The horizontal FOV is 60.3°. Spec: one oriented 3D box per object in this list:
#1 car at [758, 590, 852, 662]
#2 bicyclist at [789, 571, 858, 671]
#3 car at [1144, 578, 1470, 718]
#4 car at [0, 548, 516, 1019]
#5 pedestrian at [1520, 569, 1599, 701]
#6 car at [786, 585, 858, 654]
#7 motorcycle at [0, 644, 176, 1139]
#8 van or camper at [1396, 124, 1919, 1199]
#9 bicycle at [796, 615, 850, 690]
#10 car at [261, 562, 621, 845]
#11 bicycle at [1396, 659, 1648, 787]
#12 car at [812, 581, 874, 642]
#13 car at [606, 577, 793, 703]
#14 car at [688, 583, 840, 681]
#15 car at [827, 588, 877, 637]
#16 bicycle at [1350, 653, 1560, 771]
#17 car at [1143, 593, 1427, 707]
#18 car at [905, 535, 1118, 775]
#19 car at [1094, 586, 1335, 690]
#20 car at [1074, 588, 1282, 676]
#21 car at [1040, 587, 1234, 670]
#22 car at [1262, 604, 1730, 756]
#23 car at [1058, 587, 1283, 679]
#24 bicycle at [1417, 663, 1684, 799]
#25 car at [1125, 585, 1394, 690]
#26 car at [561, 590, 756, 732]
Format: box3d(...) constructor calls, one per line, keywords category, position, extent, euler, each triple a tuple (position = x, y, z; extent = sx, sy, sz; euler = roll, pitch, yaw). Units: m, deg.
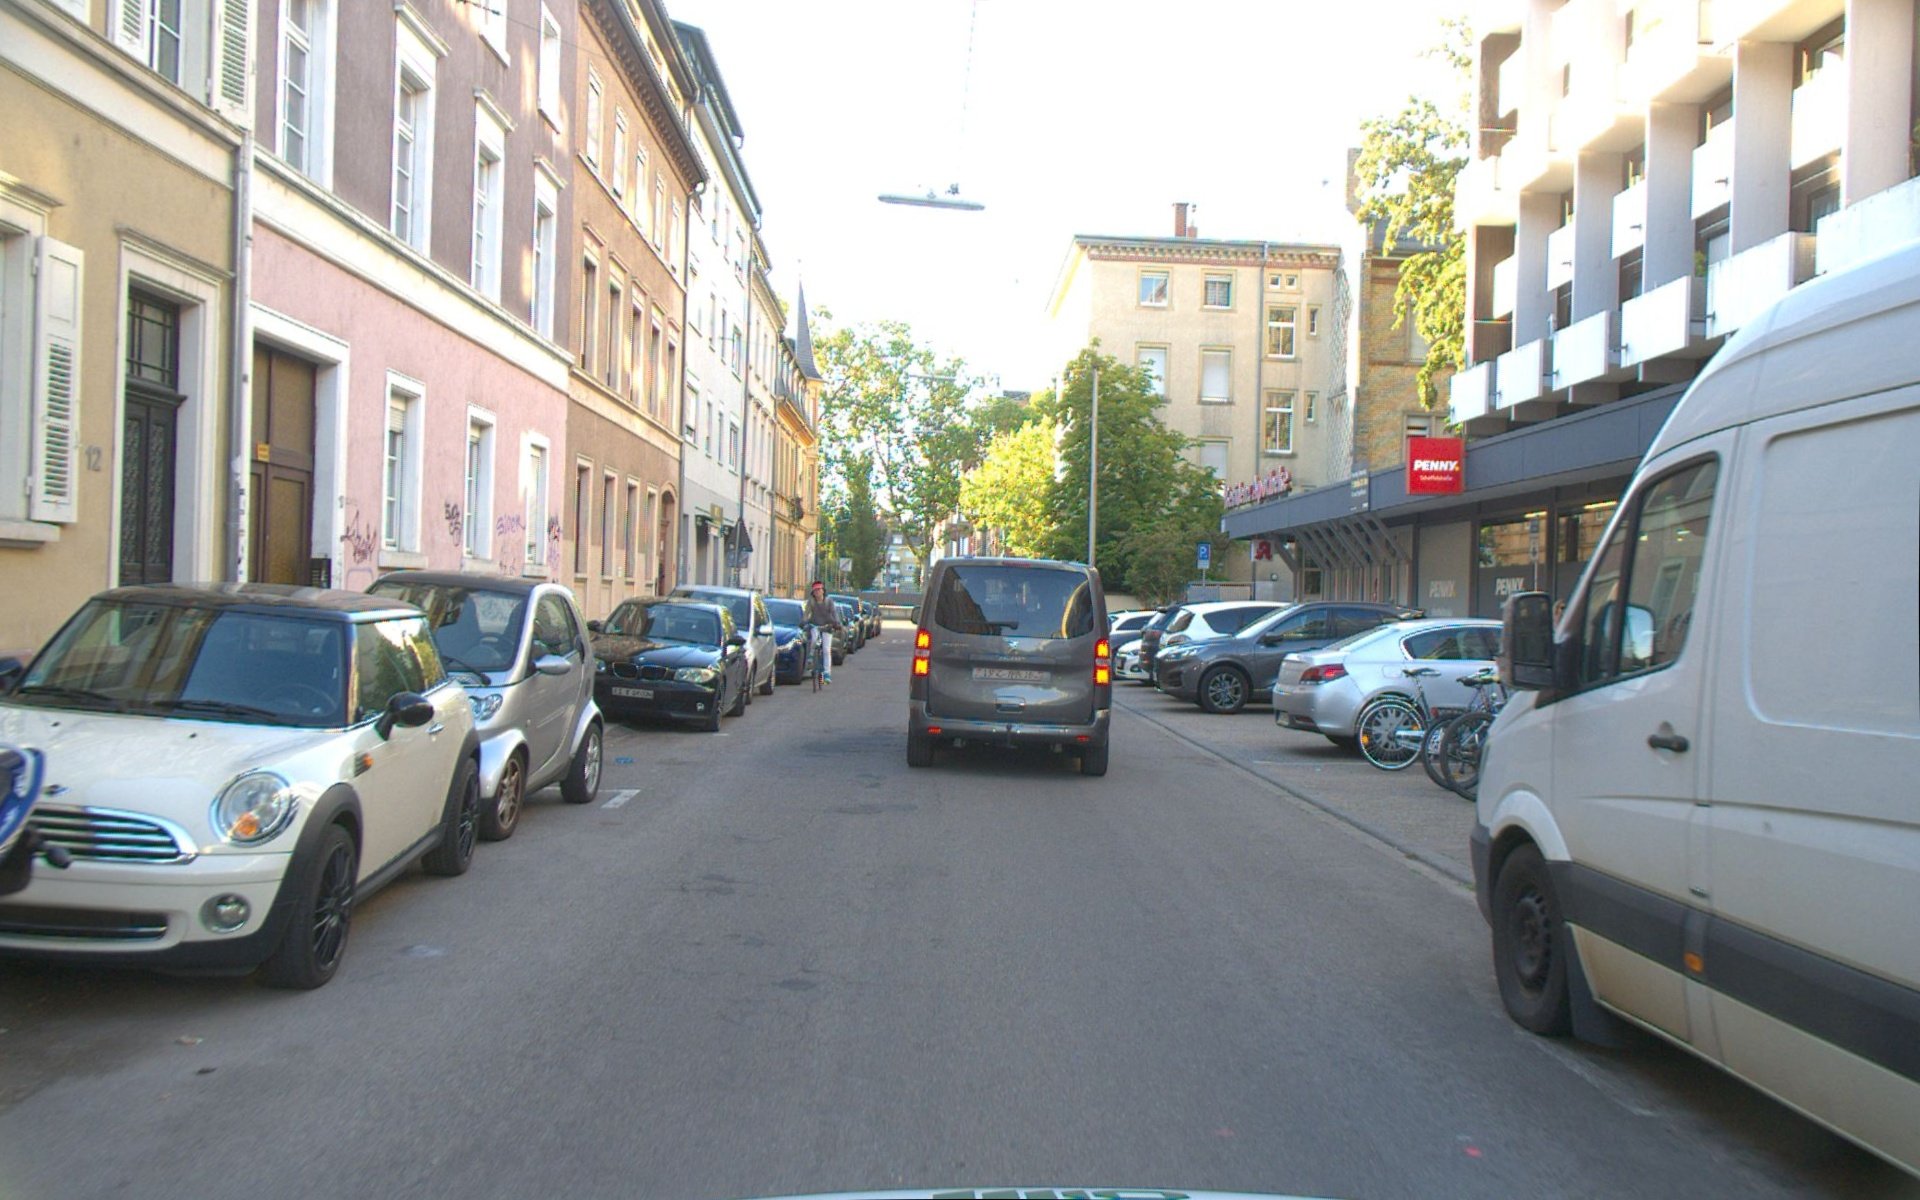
box3d(category="car", position=(-3.712, 0.583, 40.170), extent=(2.102, 1.588, 4.581), euler=(2, 0, -4))
box3d(category="bicyclist", position=(-2.250, 0.337, 27.297), extent=(1.013, 1.605, 0.833), euler=(1, 0, 3))
box3d(category="car", position=(5.217, 0.700, 25.296), extent=(4.478, 1.891, 1.999), euler=(2, 0, -3))
box3d(category="car", position=(-3.189, 0.581, 7.324), extent=(1.678, 1.523, 3.851), euler=(2, 0, -5))
box3d(category="pedestrian", position=(9.309, 0.530, 25.717), extent=(1.063, 1.979, 0.872), euler=(1, 0, 16))
box3d(category="car", position=(-4.034, 0.534, 48.753), extent=(1.954, 1.891, 4.581), euler=(2, 0, -4))
box3d(category="motorcycle", position=(-2.849, 0.783, 4.116), extent=(0.696, 1.256, 2.474), euler=(2, 0, -3))
box3d(category="van or camper", position=(3.259, 0.219, 4.061), extent=(2.057, 2.647, 7.508), euler=(1, 0, -3))
box3d(category="bicycle", position=(-2.250, 0.841, 27.368), extent=(0.608, 1.158, 2.258), euler=(1, 0, 2))
box3d(category="car", position=(-3.235, 0.583, 10.783), extent=(1.357, 1.558, 2.749), euler=(2, 0, 2))
box3d(category="bicycle", position=(4.966, 1.077, 14.663), extent=(2.002, 1.067, 0.723), euler=(1, 0, -7))
box3d(category="car", position=(-3.956, 0.350, 55.935), extent=(1.954, 1.891, 4.581), euler=(2, 0, -4))
box3d(category="car", position=(-3.748, 0.533, 24.658), extent=(1.952, 1.633, 4.585), euler=(2, 0, 1))
box3d(category="car", position=(-3.524, 0.538, 30.565), extent=(1.952, 1.588, 4.587), euler=(2, 0, 3))
box3d(category="car", position=(-4.492, 0.496, 68.700), extent=(1.954, 1.891, 4.581), euler=(2, 0, -4))
box3d(category="bicycle", position=(4.837, 1.086, 16.253), extent=(1.859, 1.085, 0.679), euler=(1, 0, 2))
box3d(category="car", position=(5.463, 0.829, 28.090), extent=(4.369, 1.705, 1.795), euler=(2, 0, -6))
box3d(category="car", position=(0.451, 0.458, 16.167), extent=(1.819, 2.049, 4.000), euler=(0, 0, 0))
box3d(category="car", position=(5.076, 0.746, 33.219), extent=(4.390, 1.891, 1.881), euler=(2, 0, -9))
box3d(category="car", position=(5.131, 0.739, 39.278), extent=(4.484, 1.891, 1.996), euler=(2, 0, -8))
box3d(category="car", position=(4.420, 0.703, 41.687), extent=(4.484, 1.891, 1.996), euler=(2, 0, -8))
box3d(category="car", position=(5.769, 0.836, 18.175), extent=(4.532, 1.491, 1.840), euler=(-1, 0, -2))
box3d(category="car", position=(4.576, 0.705, 36.284), extent=(4.484, 1.823, 1.996), euler=(2, 0, -8))
box3d(category="bicycle", position=(4.938, 1.086, 13.873), extent=(2.003, 1.067, 0.723), euler=(1, 0, -8))
box3d(category="car", position=(5.520, 0.676, 30.789), extent=(4.484, 1.734, 1.996), euler=(2, 0, -8))
box3d(category="car", position=(-3.468, 0.634, 19.753), extent=(1.753, 1.422, 4.464), euler=(3, 0, -4))
